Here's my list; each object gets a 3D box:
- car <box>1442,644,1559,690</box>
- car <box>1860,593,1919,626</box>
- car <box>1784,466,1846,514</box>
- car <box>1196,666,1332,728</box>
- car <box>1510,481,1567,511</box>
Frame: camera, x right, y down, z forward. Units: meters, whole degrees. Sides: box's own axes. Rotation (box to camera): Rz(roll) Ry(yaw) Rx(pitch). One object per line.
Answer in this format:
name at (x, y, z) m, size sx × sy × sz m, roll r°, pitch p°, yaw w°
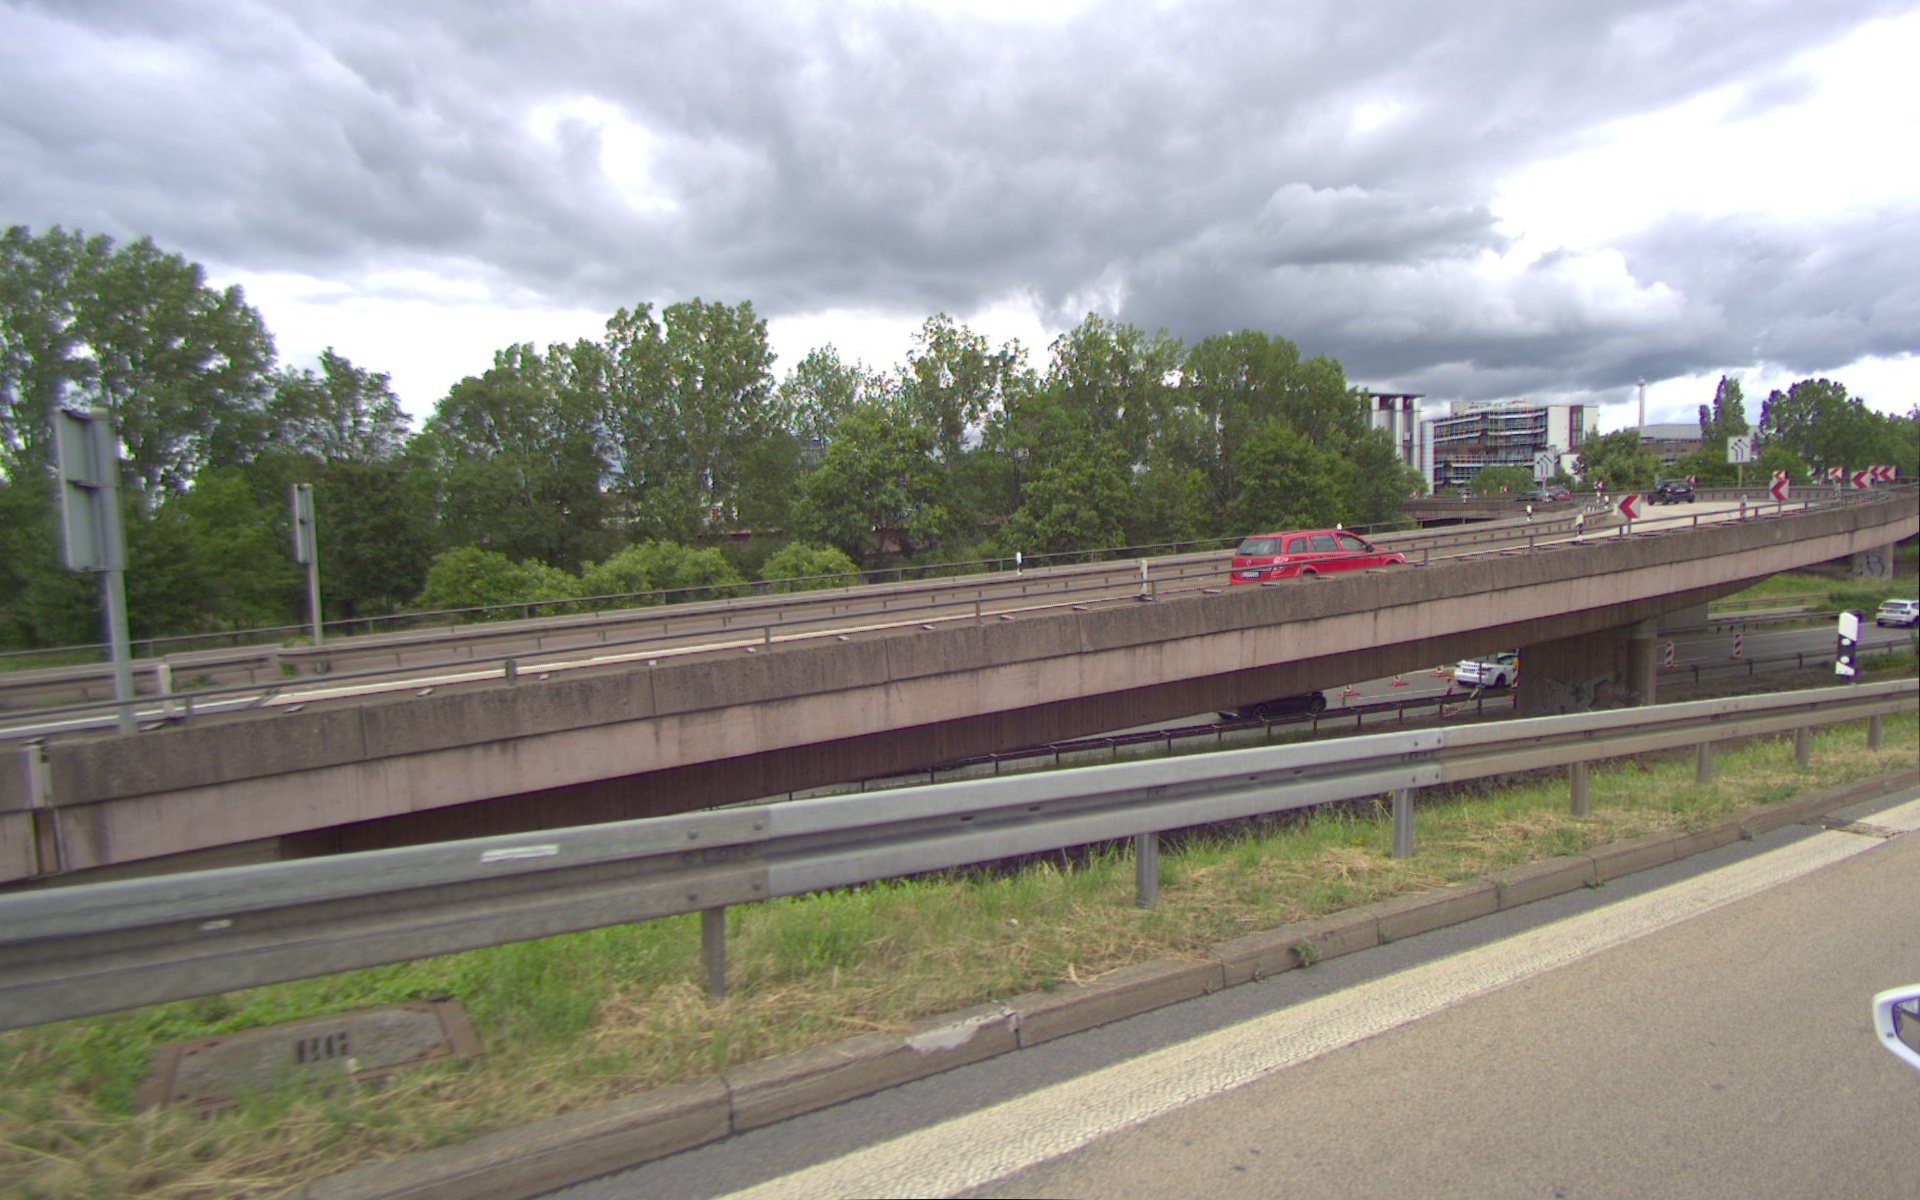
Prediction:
car at (23.401, 2.847, 43.471) m, size 4.734 × 1.475 × 1.988 m, roll -2°, pitch 4°, yaw -24°
car at (58.256, 0.562, 62.413) m, size 4.043 × 1.736 × 1.988 m, roll -2°, pitch 4°, yaw -24°
car at (39.932, -5.098, 47.002) m, size 1.969 × 1.796 × 3.983 m, roll 3°, pitch 2°, yaw 38°
car at (11.099, 3.487, 36.681) m, size 4.514 × 1.637 × 2.031 m, roll -2°, pitch 4°, yaw -24°
car at (41.865, -7.519, 72.778) m, size 1.960 × 1.796 × 4.001 m, roll 2°, pitch 1°, yaw 4°
